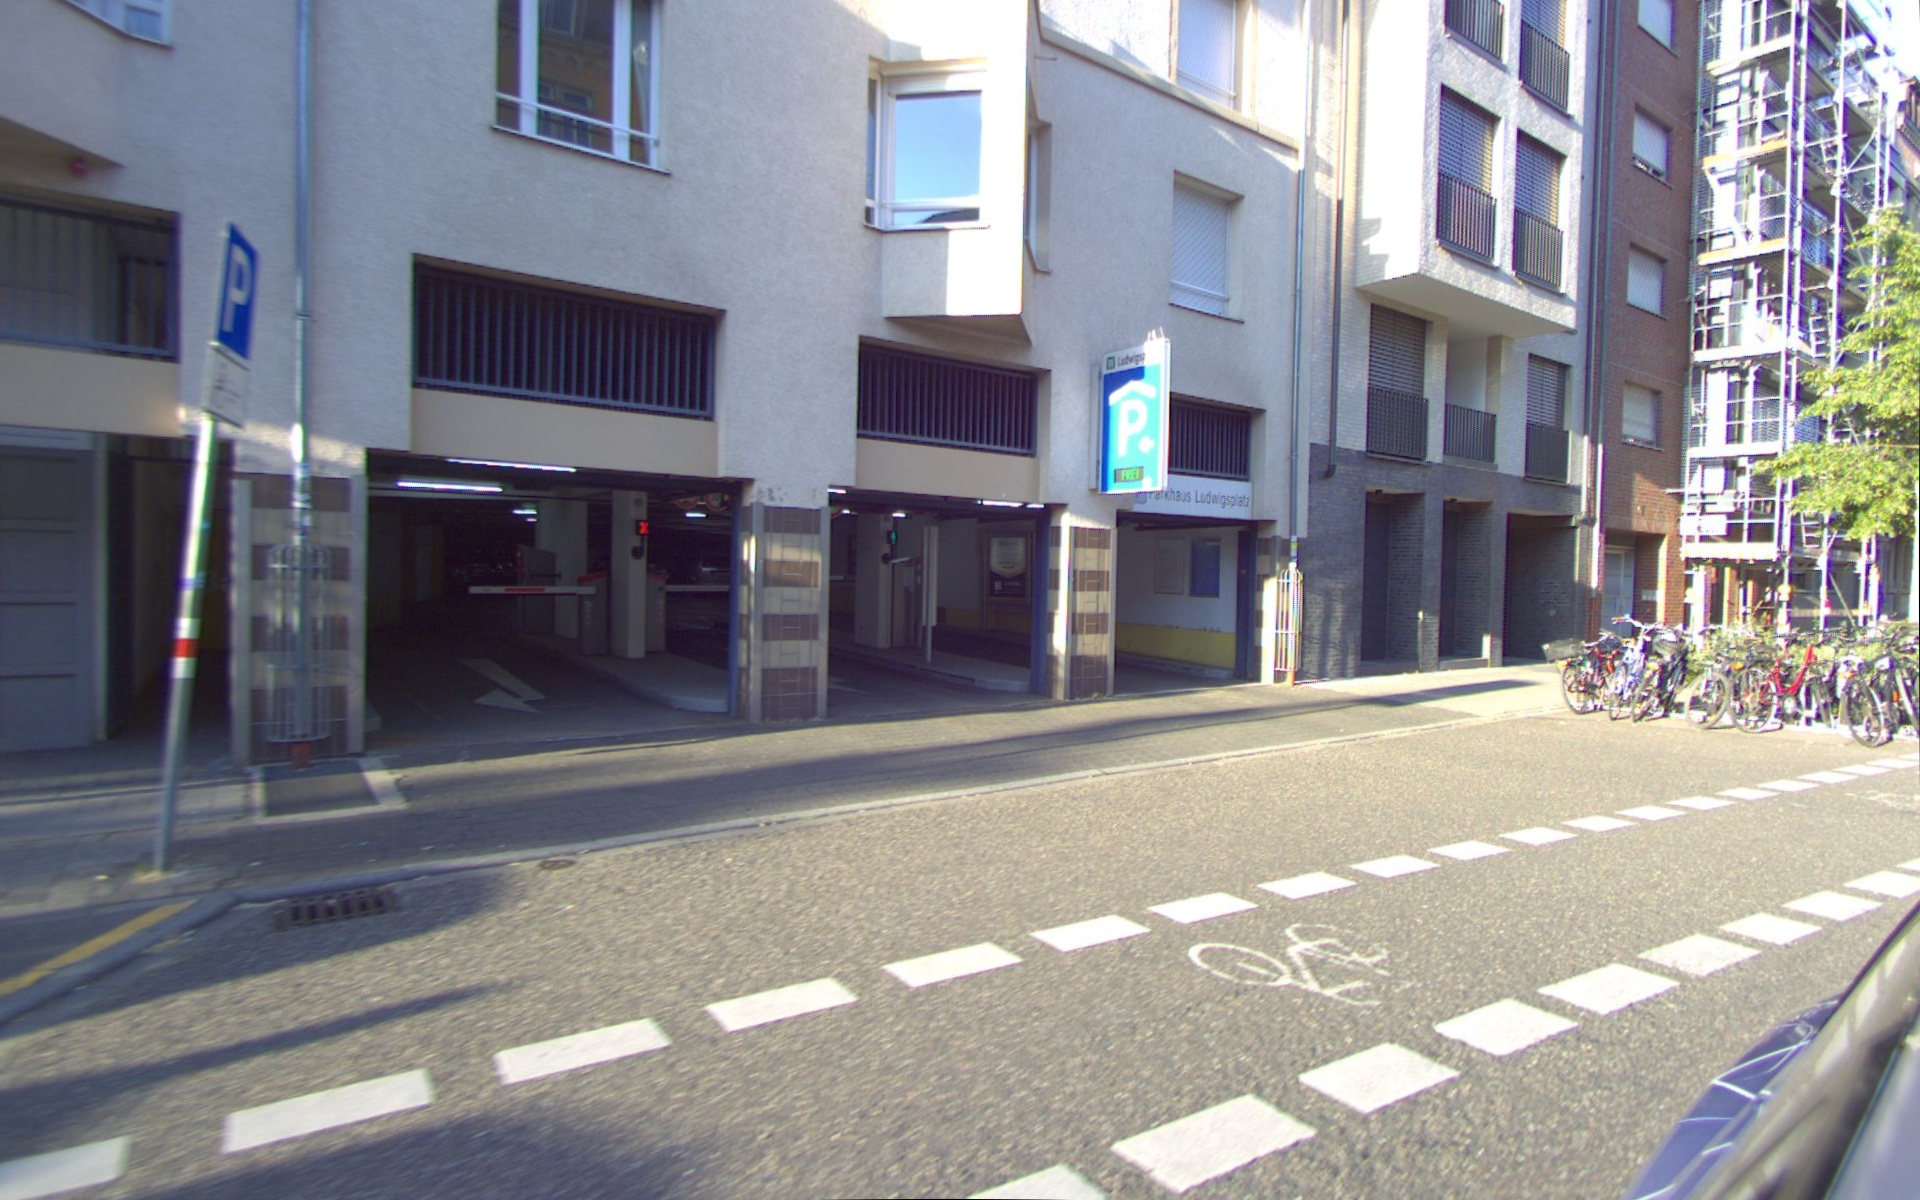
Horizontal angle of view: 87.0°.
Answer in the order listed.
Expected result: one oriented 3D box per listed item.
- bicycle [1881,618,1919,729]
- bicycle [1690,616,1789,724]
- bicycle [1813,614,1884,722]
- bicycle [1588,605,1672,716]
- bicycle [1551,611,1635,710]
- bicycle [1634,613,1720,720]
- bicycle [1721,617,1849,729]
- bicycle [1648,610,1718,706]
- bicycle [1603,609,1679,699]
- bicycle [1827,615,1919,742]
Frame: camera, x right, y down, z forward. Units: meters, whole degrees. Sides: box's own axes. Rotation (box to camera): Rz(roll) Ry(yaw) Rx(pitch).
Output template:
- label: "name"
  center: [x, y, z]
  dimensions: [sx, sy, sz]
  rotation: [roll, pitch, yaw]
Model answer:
- label: "bicycle"
  center: [10.494, 0.770, 11.050]
  dimensions: [1.495, 1.114, 0.383]
  rotation: [0, 2, -38]
- label: "bicycle"
  center: [8.708, 0.747, 11.283]
  dimensions: [1.535, 1.114, 0.383]
  rotation: [0, 2, -34]
- label: "bicycle"
  center: [10.239, 0.746, 11.692]
  dimensions: [0.380, 1.114, 1.505]
  rotation: [2, 2, 33]
- label: "bicycle"
  center: [7.884, 0.677, 11.894]
  dimensions: [1.496, 1.204, 0.382]
  rotation: [-1, 1, -39]
- label: "bicycle"
  center: [7.842, 0.713, 12.515]
  dimensions: [1.496, 1.113, 0.383]
  rotation: [-1, 2, -39]
- label: "bicycle"
  center: [8.149, 0.721, 11.488]
  dimensions: [1.495, 1.114, 0.383]
  rotation: [-1, 1, -39]
- label: "bicycle"
  center: [8.730, 0.747, 10.700]
  dimensions: [1.491, 1.121, 0.373]
  rotation: [0, 2, -23]
- label: "bicycle"
  center: [9.146, 0.708, 12.779]
  dimensions: [1.497, 1.114, 0.382]
  rotation: [0, 2, -42]
- label: "bicycle"
  center: [9.093, 0.694, 13.494]
  dimensions: [1.496, 1.114, 0.383]
  rotation: [0, 2, -39]
- label: "bicycle"
  center: [9.224, 0.748, 10.046]
  dimensions: [1.533, 1.155, 0.364]
  rotation: [0, 2, -27]
